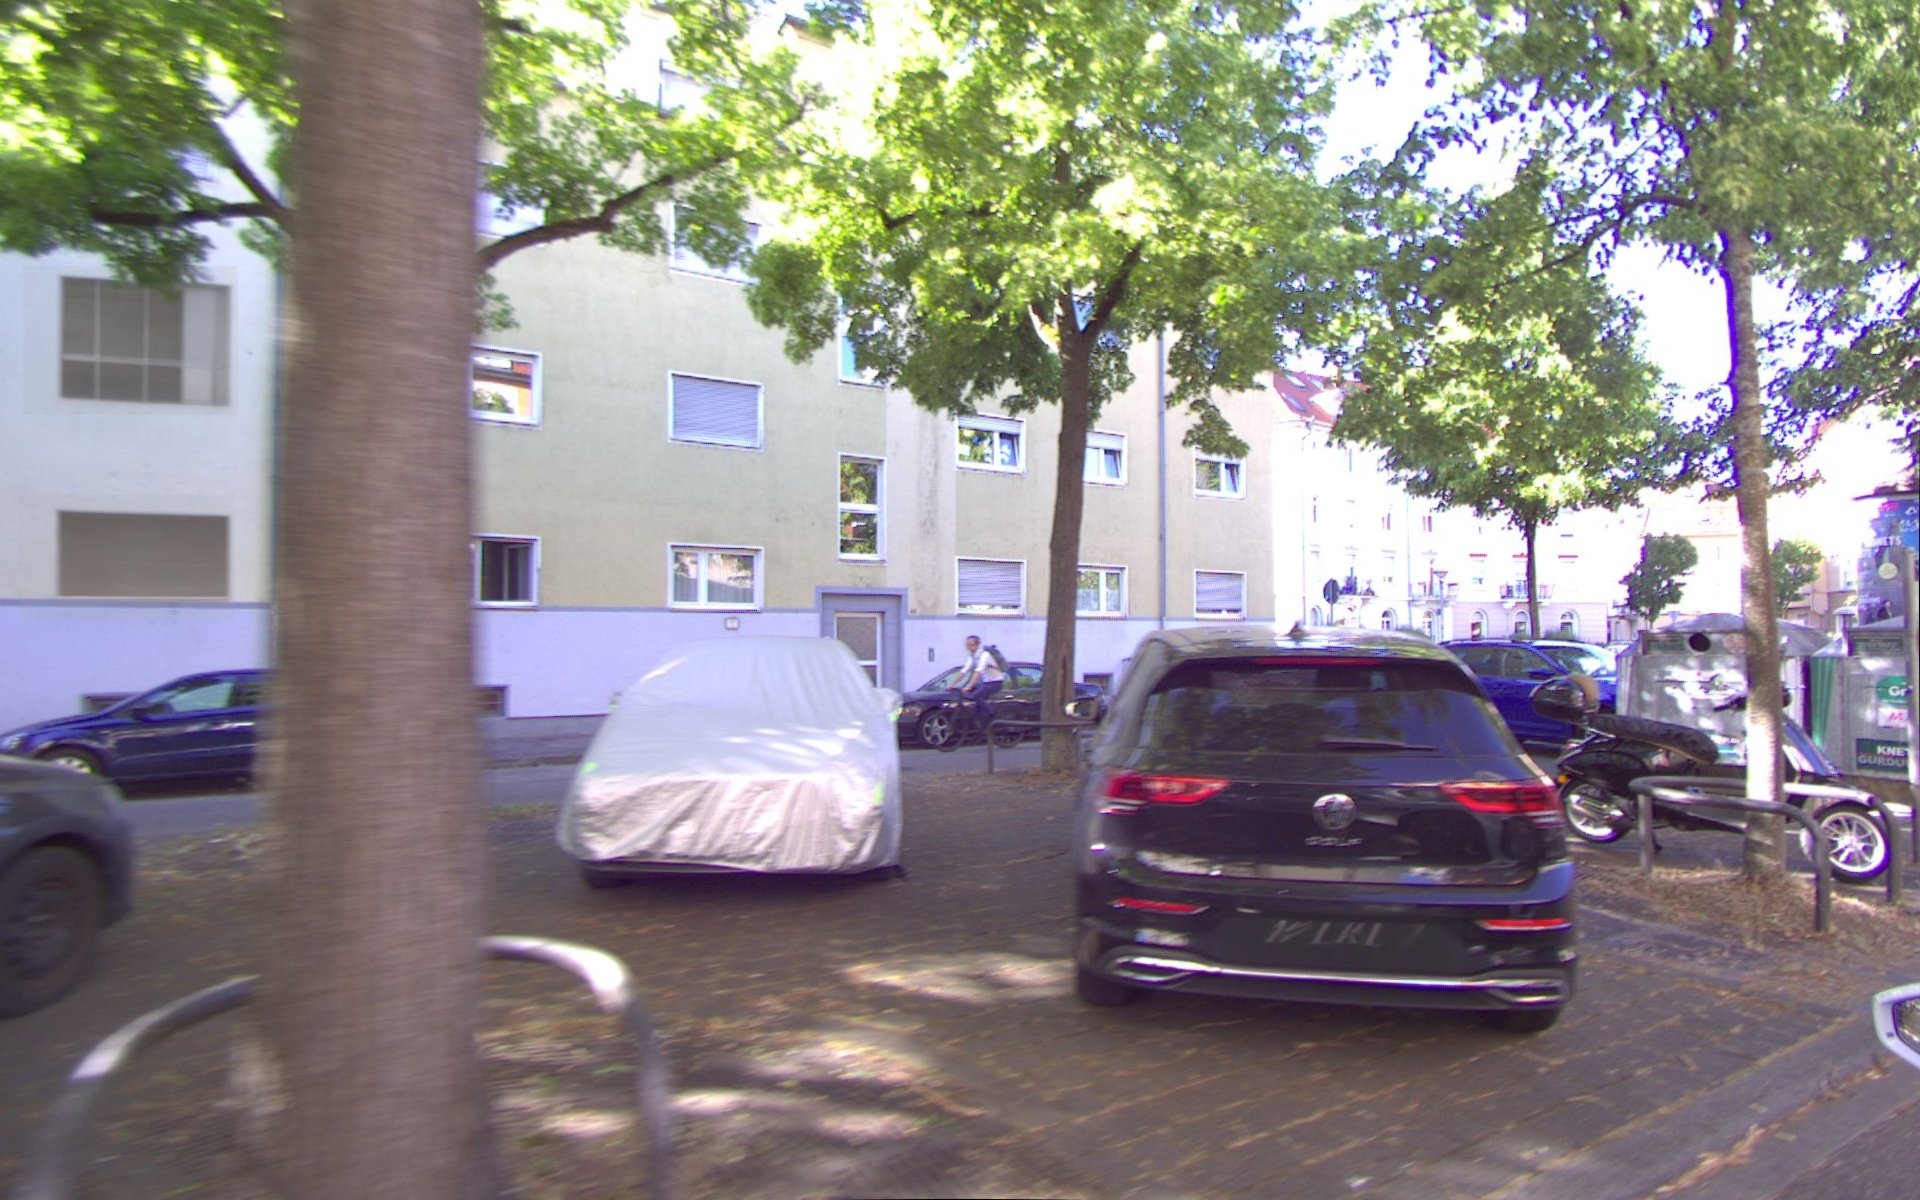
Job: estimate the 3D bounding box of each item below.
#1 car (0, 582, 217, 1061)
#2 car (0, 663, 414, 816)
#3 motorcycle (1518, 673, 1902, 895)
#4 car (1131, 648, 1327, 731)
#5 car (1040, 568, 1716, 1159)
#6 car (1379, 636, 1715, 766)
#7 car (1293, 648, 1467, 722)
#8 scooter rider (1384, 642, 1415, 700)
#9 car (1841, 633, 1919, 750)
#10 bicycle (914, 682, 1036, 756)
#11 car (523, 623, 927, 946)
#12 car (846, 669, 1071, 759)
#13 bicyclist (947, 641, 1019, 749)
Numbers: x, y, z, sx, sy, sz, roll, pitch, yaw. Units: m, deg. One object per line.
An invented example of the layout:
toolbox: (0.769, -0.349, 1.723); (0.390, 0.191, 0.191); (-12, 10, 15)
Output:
car: (-4.005, 0.707, 2.445); (1.604, 1.602, 3.738); (0, -2, -1)
car: (-8.979, 1.553, 12.082); (4.101, 1.514, 1.763); (2, -3, -33)
motorcycle: (4.750, 1.092, 6.544); (0.512, 1.186, 1.929); (1, -3, -32)
car: (5.598, 1.784, 20.756); (4.120, 1.546, 1.521); (1, -3, -32)
car: (1.514, 0.802, 4.907); (1.796, 1.574, 4.158); (-1, -3, 11)
car: (7.677, 1.282, 13.588); (1.619, 1.485, 3.786); (0, -3, -18)
car: (9.868, 1.917, 23.537); (3.954, 1.545, 1.770); (1, -2, -31)
scooter rider: (11.964, 1.930, 27.359); (0.595, 1.549, 0.526); (-1, -2, 7)
car: (13.100, 1.166, 12.165); (1.740, 1.501, 4.145); (1, -2, 10)
bicycle: (0.248, 1.829, 15.678); (1.892, 1.048, 0.597); (1, -3, -31)
car: (-1.309, 0.968, 6.795); (1.832, 1.485, 4.099); (2, -3, -6)
car: (-0.008, 1.906, 17.355); (3.599, 1.338, 1.578); (1, -5, -31)
bicyclist: (0.356, 1.462, 15.779); (0.917, 1.642, 0.712); (1, -3, -29)
